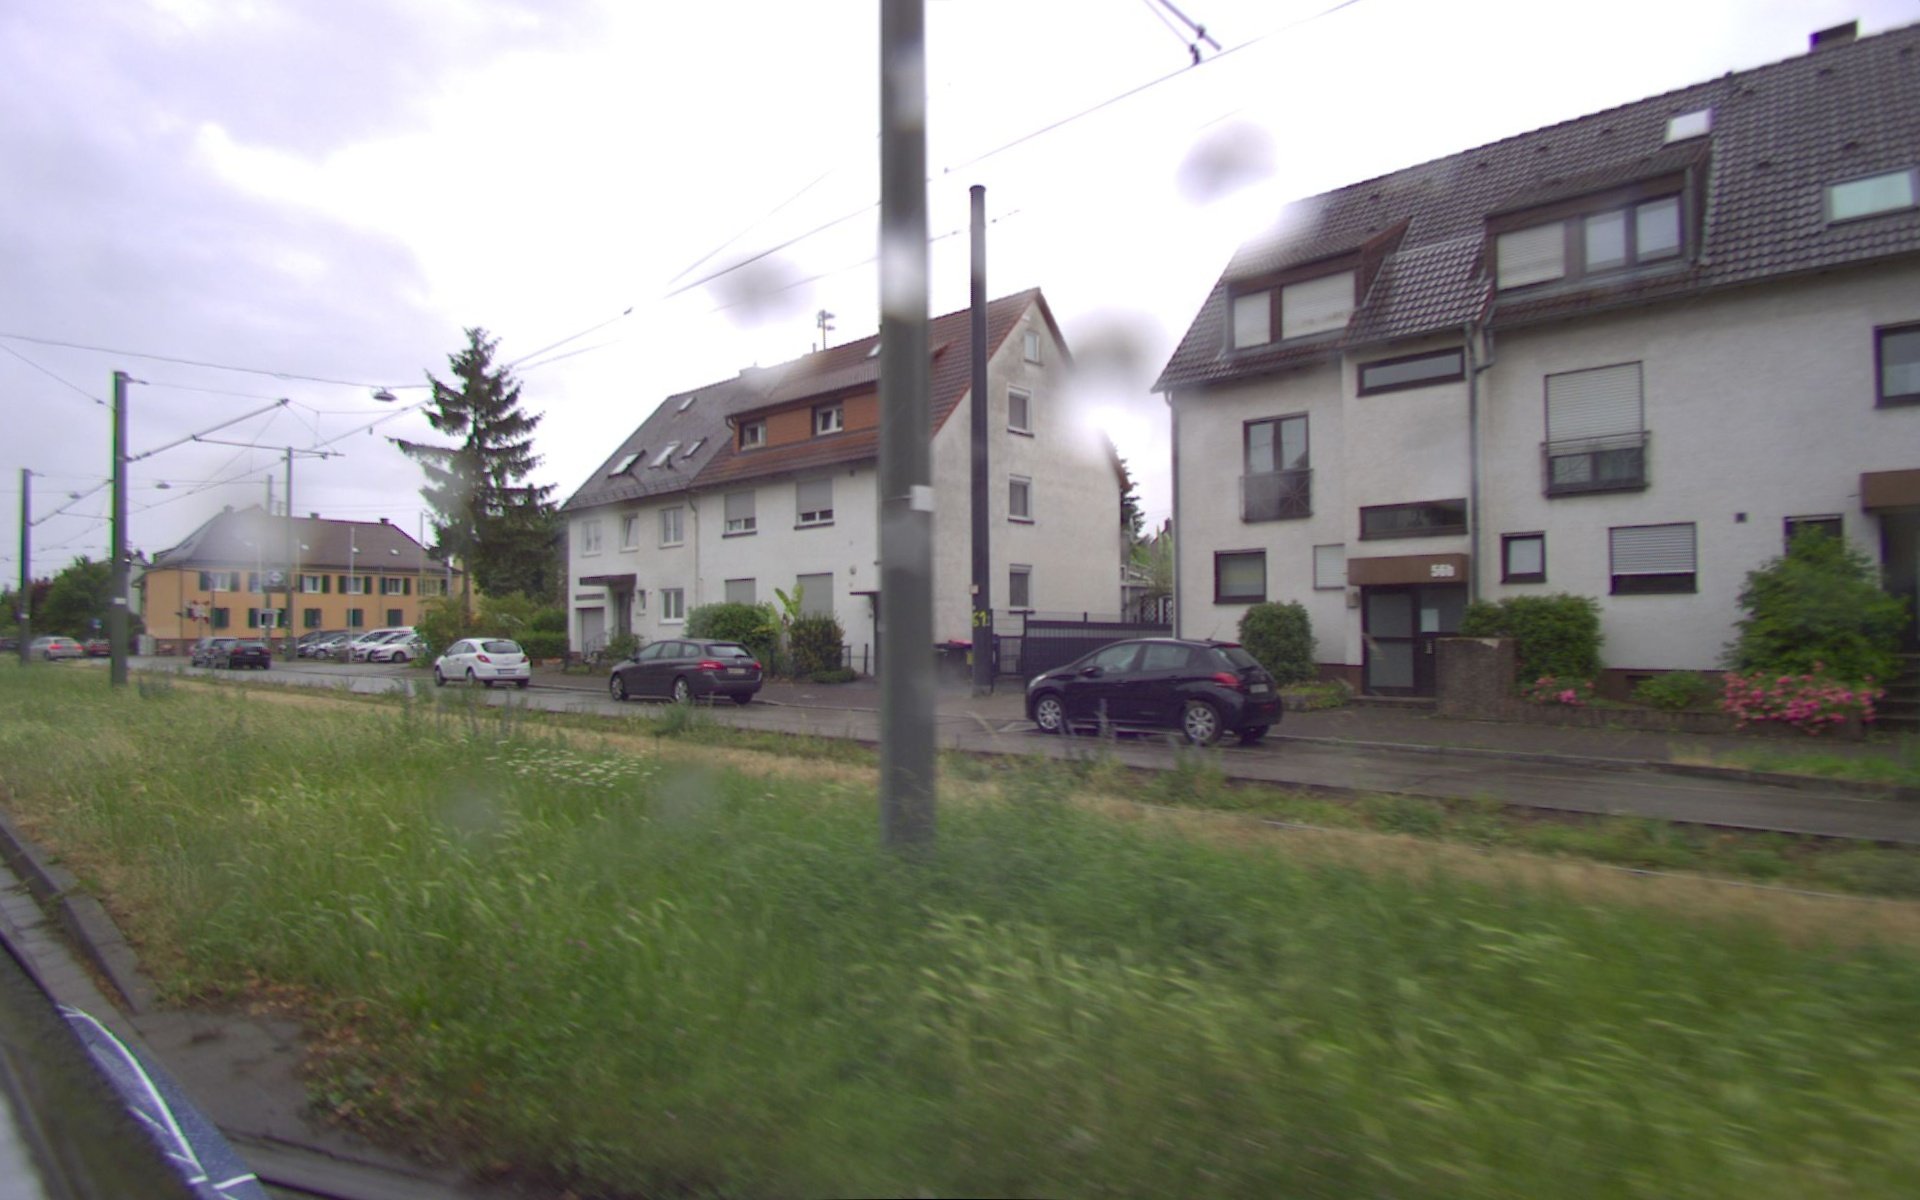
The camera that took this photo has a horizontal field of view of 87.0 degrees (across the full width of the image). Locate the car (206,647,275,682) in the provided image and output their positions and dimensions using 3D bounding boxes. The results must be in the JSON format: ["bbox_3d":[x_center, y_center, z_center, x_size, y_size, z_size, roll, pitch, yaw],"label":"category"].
[{"bbox_3d":[-35.238,3.120,49.540,3.999,1.602,1.887,-2,-3,42],"label":"car"}]

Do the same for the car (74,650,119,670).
[{"bbox_3d":[-63.592,4.393,74.509,4.075,1.442,1.861,-2,-3,41],"label":"car"}]

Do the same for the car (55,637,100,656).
[{"bbox_3d":[-70.103,3.674,80.383,4.075,1.442,2.069,-2,-3,41],"label":"car"}]

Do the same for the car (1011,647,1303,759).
[{"bbox_3d":[2.819,1.425,15.019,3.936,1.437,1.753,-3,-4,42],"label":"car"}]

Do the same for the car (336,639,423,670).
[{"bbox_3d":[-32.607,3.031,56.886,3.937,1.607,1.916,0,-2,-41],"label":"car"}]

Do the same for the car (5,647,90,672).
[{"bbox_3d":[-55.396,3.589,61.424,4.246,1.442,2.093,-1,-3,20],"label":"car"}]

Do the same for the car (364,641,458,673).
[{"bbox_3d":[-28.759,2.962,53.105,1.914,1.475,3.943,-3,-2,43],"label":"car"}]

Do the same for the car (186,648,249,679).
[{"bbox_3d":[-38.685,3.277,52.703,3.999,1.541,1.857,-2,-3,42],"label":"car"}]

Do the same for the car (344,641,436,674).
[{"bbox_3d":[-30.691,3.045,54.521,1.914,1.607,3.943,-3,-2,43],"label":"car"}]

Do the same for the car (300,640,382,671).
[{"bbox_3d":[-35.564,3.135,58.163,3.934,1.607,1.918,0,-2,-35],"label":"car"}]

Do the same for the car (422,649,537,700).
[{"bbox_3d":[-14.728,2.218,30.934,3.998,1.451,1.693,-2,-4,41],"label":"car"}]

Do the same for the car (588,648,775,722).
[{"bbox_3d":[-6.505,1.878,23.366,4.754,1.543,1.867,-2,-4,41],"label":"car"}]

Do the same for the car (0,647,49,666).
[{"bbox_3d":[-85.379,5.126,91.719,1.892,1.660,3.948,-2,-4,39],"label":"car"}]

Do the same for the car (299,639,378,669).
[{"bbox_3d":[-37.152,3.191,60.572,3.931,1.607,1.919,0,-2,-29],"label":"car"}]
